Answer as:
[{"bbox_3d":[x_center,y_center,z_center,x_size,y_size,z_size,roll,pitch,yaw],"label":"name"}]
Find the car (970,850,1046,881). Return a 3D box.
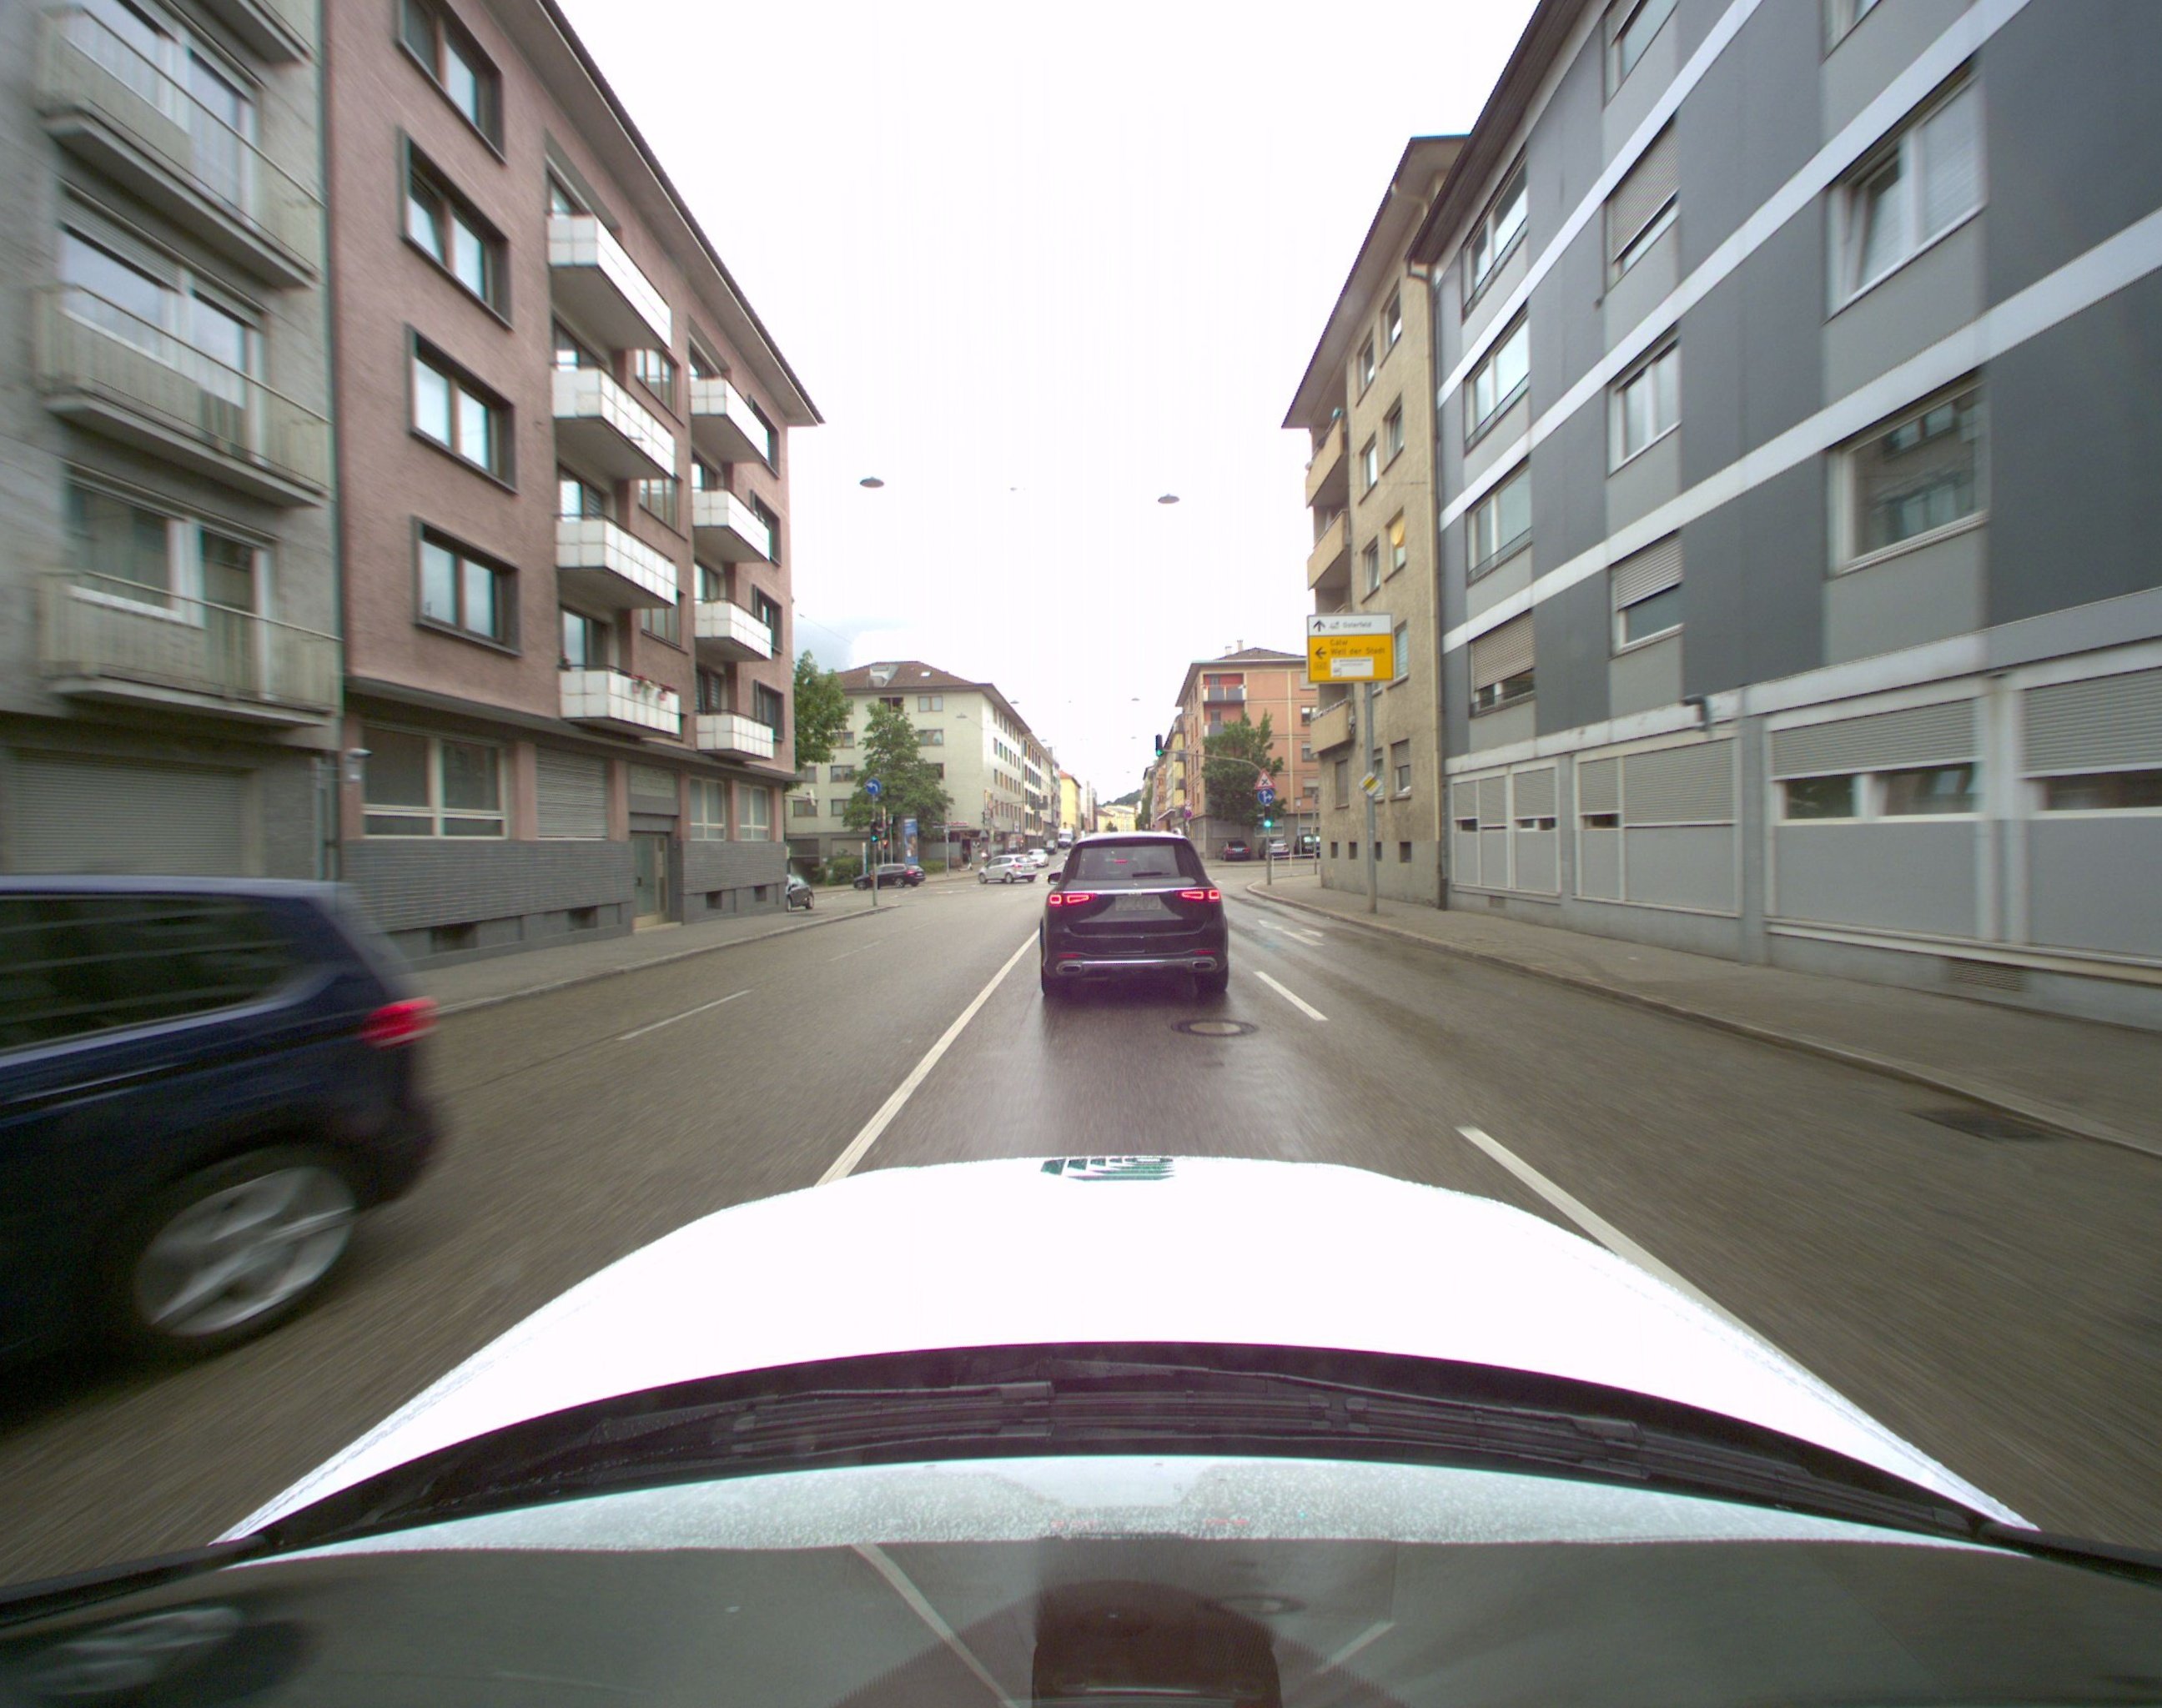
[{"bbox_3d":[-4.205,0.682,46.376,2.039,1.599,4.210,-3,0,-44],"label":"car"}]

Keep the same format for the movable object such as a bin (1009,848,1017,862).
[{"bbox_3d":[-6.693,0.103,80.326,0.695,1.315,0.783,0,-1,1],"label":"movable object such as a bin"}]

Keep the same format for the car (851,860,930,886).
[{"bbox_3d":[-11.418,1.119,48.948,4.237,1.453,1.726,-1,-1,5],"label":"car"}]

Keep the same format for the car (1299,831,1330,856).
[{"bbox_3d":[17.236,-0.798,60.287,1.972,1.719,4.015,-3,0,14],"label":"car"}]

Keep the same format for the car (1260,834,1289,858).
[{"bbox_3d":[14.468,-0.649,60.898,1.973,1.660,4.014,-2,1,13],"label":"car"}]

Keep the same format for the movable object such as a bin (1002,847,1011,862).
[{"bbox_3d":[-6.929,0.045,75.547,0.695,1.315,0.783,0,-1,1],"label":"movable object such as a bin"}]

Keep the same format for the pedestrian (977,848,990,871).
[{"bbox_3d":[-7.293,0.402,61.001,0.713,1.646,0.751,-2,4,-34],"label":"pedestrian"}]

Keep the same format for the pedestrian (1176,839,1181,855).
[{"bbox_3d":[9.595,-0.704,80.170,0.518,1.538,0.570,0,4,3],"label":"pedestrian"}]

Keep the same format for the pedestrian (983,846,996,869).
[{"bbox_3d":[-6.959,0.265,61.778,0.713,1.646,0.751,-2,4,-34],"label":"pedestrian"}]

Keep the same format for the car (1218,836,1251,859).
[{"bbox_3d":[11.530,-0.489,61.345,1.835,1.554,4.802,-2,1,4],"label":"car"}]

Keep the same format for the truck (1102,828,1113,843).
[{"bbox_3d":[7.786,-5.338,236.726,2.794,3.832,8.154,0,-1,5],"label":"truck"}]

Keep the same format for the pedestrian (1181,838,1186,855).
[{"bbox_3d":[9.622,-0.690,76.538,0.477,1.565,0.558,0,4,3],"label":"pedestrian"}]

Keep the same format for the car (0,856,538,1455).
[{"bbox_3d":[-3.983,0.822,1.830,1.979,1.575,4.326,-1,0,15],"label":"car"}]

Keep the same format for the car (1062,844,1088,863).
[{"bbox_3d":[-0.433,-0.056,67.875,1.836,1.489,4.004,-3,1,3],"label":"car"}]

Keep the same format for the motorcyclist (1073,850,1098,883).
[{"bbox_3d":[0.196,0.574,37.058,0.906,1.453,0.742,-3,0,-17],"label":"motorcyclist"}]

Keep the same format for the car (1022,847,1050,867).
[{"bbox_3d":[-3.698,0.246,67.268,1.836,1.512,4.004,-3,1,3],"label":"car"}]

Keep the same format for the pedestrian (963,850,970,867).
[{"bbox_3d":[-9.681,0.366,68.699,0.517,1.400,0.578,0,-1,-1],"label":"pedestrian"}]

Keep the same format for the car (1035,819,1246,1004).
[{"bbox_3d":[0.599,0.581,10.364,2.014,1.739,4.747,-2,-1,0],"label":"car"}]

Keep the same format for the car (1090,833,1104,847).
[{"bbox_3d":[2.843,-2.477,142.390,2.056,2.241,4.625,-2,0,4],"label":"car"}]

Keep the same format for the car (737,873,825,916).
[{"bbox_3d":[-11.466,1.503,31.442,1.726,1.360,4.001,-4,-1,1],"label":"car"}]

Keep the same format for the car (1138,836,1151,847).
[{"bbox_3d":[9.891,-1.880,126.745,2.006,1.562,5.162,0,0,5],"label":"car"}]

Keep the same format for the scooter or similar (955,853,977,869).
[{"bbox_3d":[-8.834,0.533,62.495,1.565,1.190,0.497,0,-1,-27],"label":"scooter or similar"}]

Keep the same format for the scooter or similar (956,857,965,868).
[{"bbox_3d":[-9.541,0.644,64.292,0.460,0.843,1.313,0,-1,-20],"label":"scooter or similar"}]

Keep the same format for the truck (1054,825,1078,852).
[{"bbox_3d":[-2.212,-2.298,122.643,2.794,3.832,8.154,0,-1,5],"label":"truck"}]

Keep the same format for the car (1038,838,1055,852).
[{"bbox_3d":[-4.114,-1.047,98.197,1.717,1.603,4.002,-2,0,2],"label":"car"}]

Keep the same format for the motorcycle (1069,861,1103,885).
[{"bbox_3d":[0.205,0.858,37.077,0.864,1.006,2.239,-3,0,-17],"label":"motorcycle"}]

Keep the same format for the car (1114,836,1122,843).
[{"bbox_3d":[9.981,-3.834,219.128,1.836,1.674,4.004,-2,0,4],"label":"car"}]
